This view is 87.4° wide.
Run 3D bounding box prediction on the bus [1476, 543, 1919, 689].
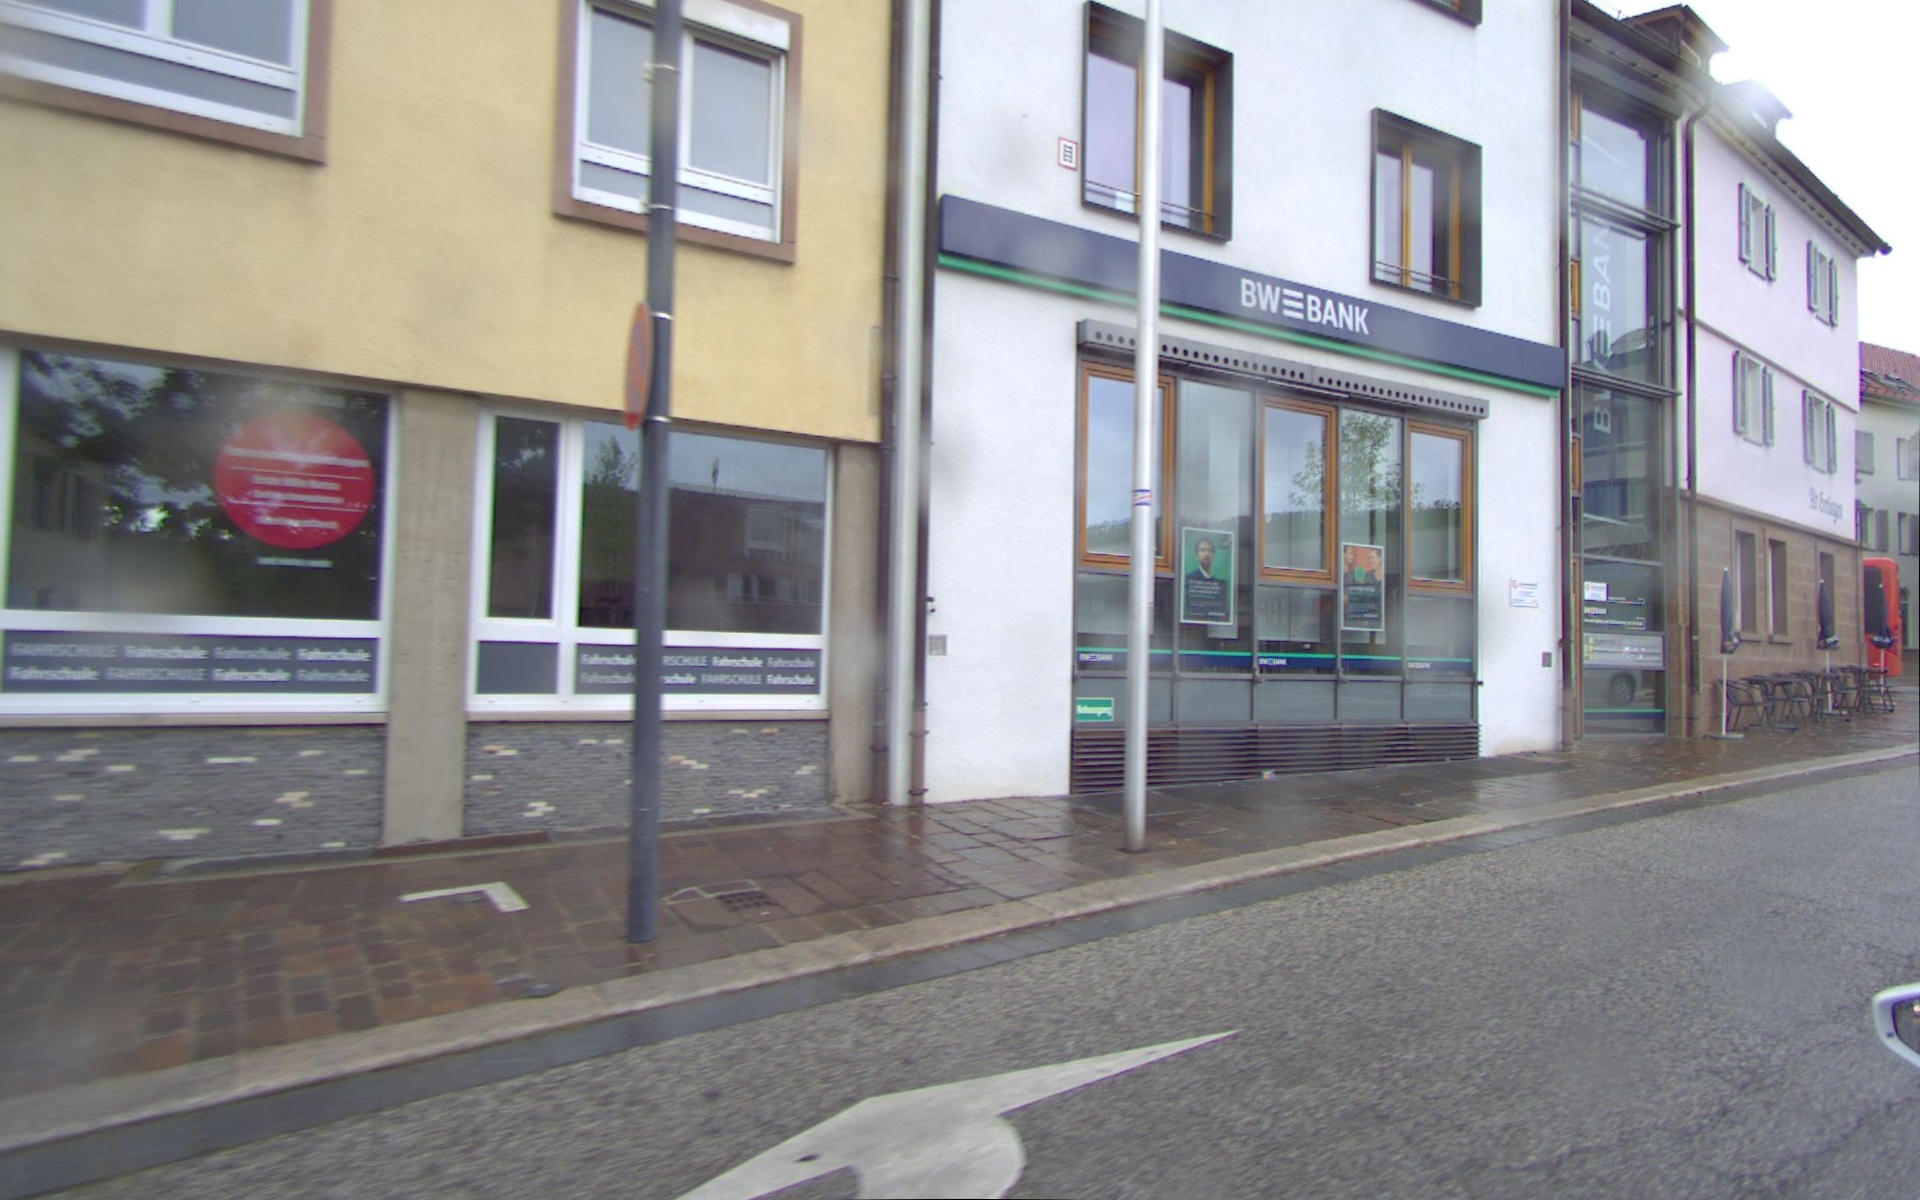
[{"bbox_3d":[19.039,0.581,25.590,10.004,3.187,3.017,-3,-5,42],"label":"bus"}]
